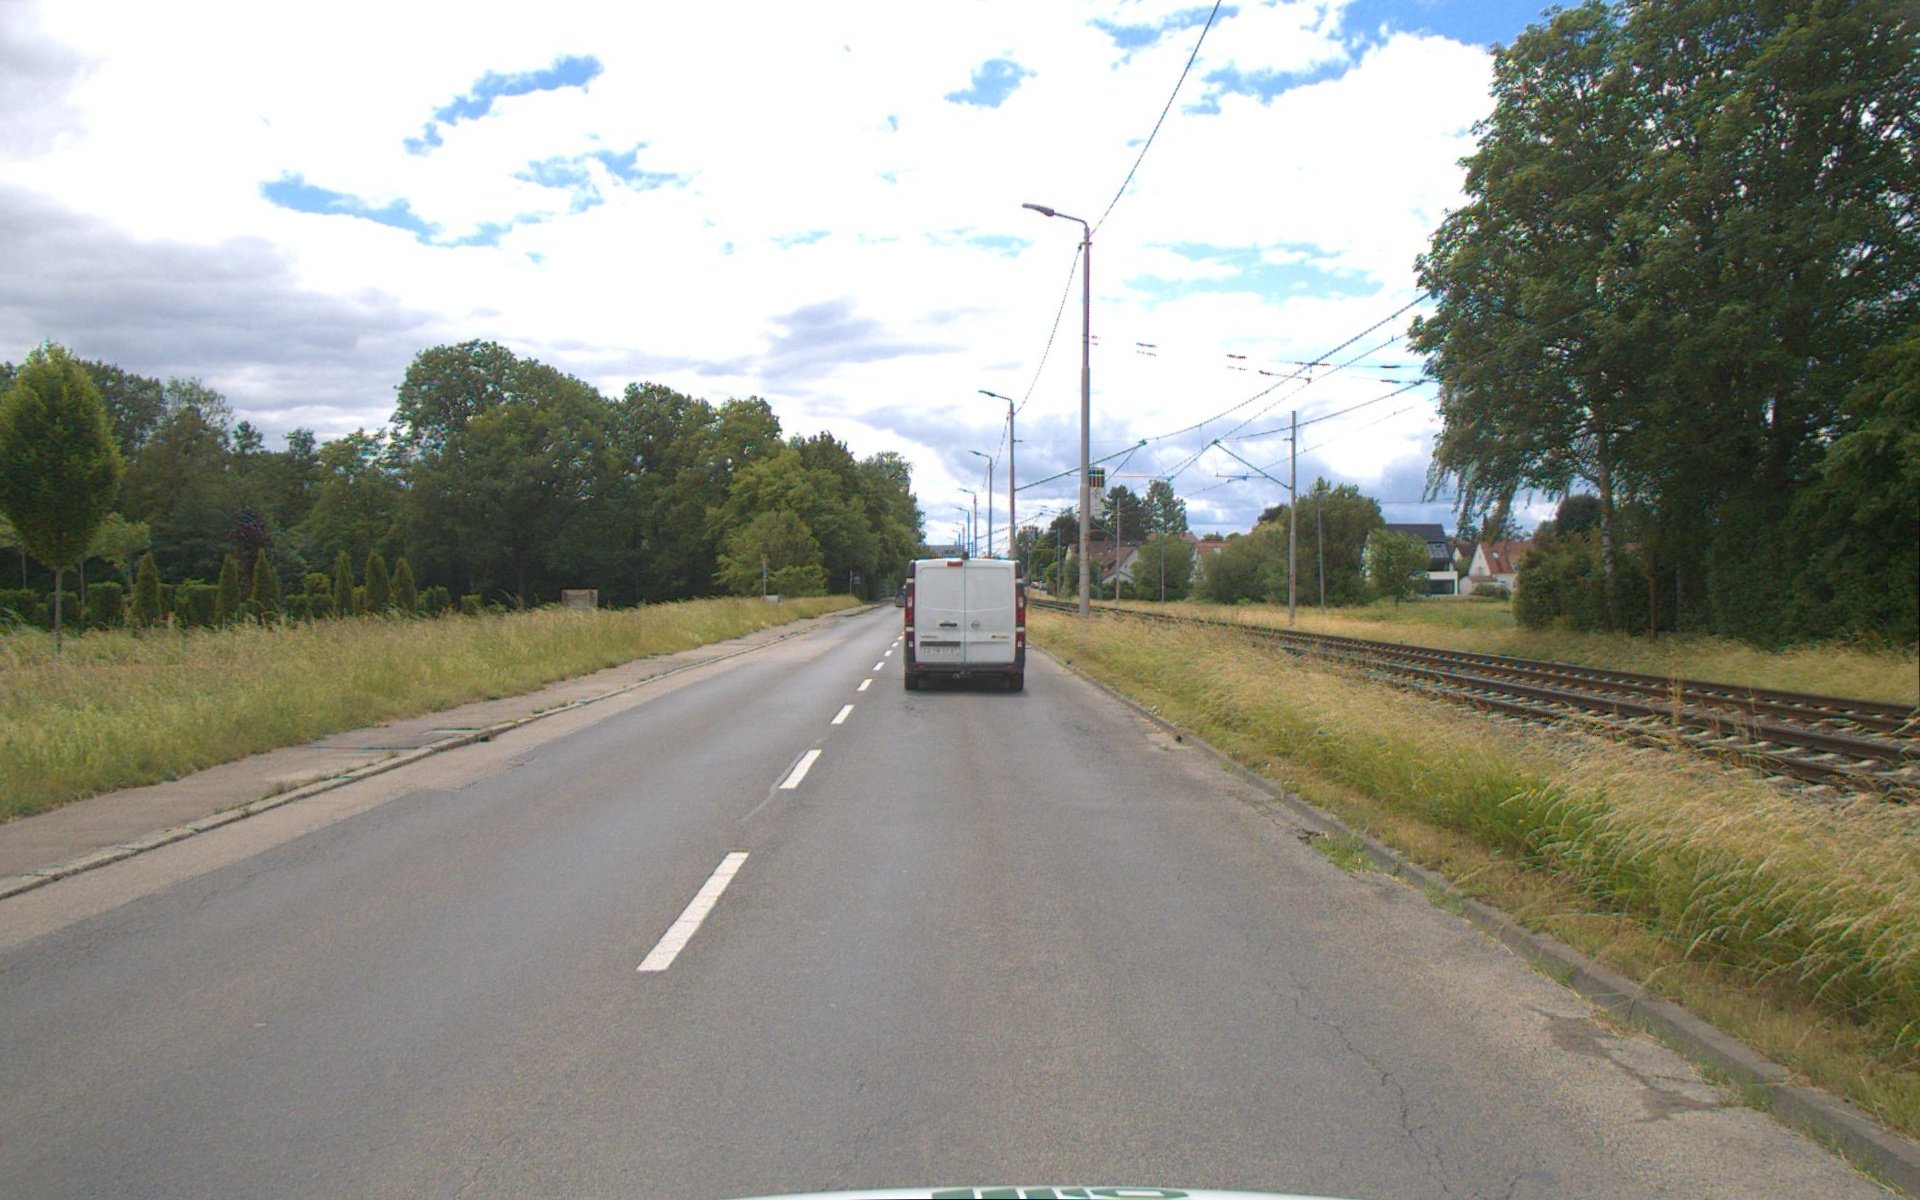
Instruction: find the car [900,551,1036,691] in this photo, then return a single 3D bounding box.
[{"bbox_3d":[0.057,0.301,25.934,1.953,1.991,3.998,-1,0,-2],"label":"car"}]
